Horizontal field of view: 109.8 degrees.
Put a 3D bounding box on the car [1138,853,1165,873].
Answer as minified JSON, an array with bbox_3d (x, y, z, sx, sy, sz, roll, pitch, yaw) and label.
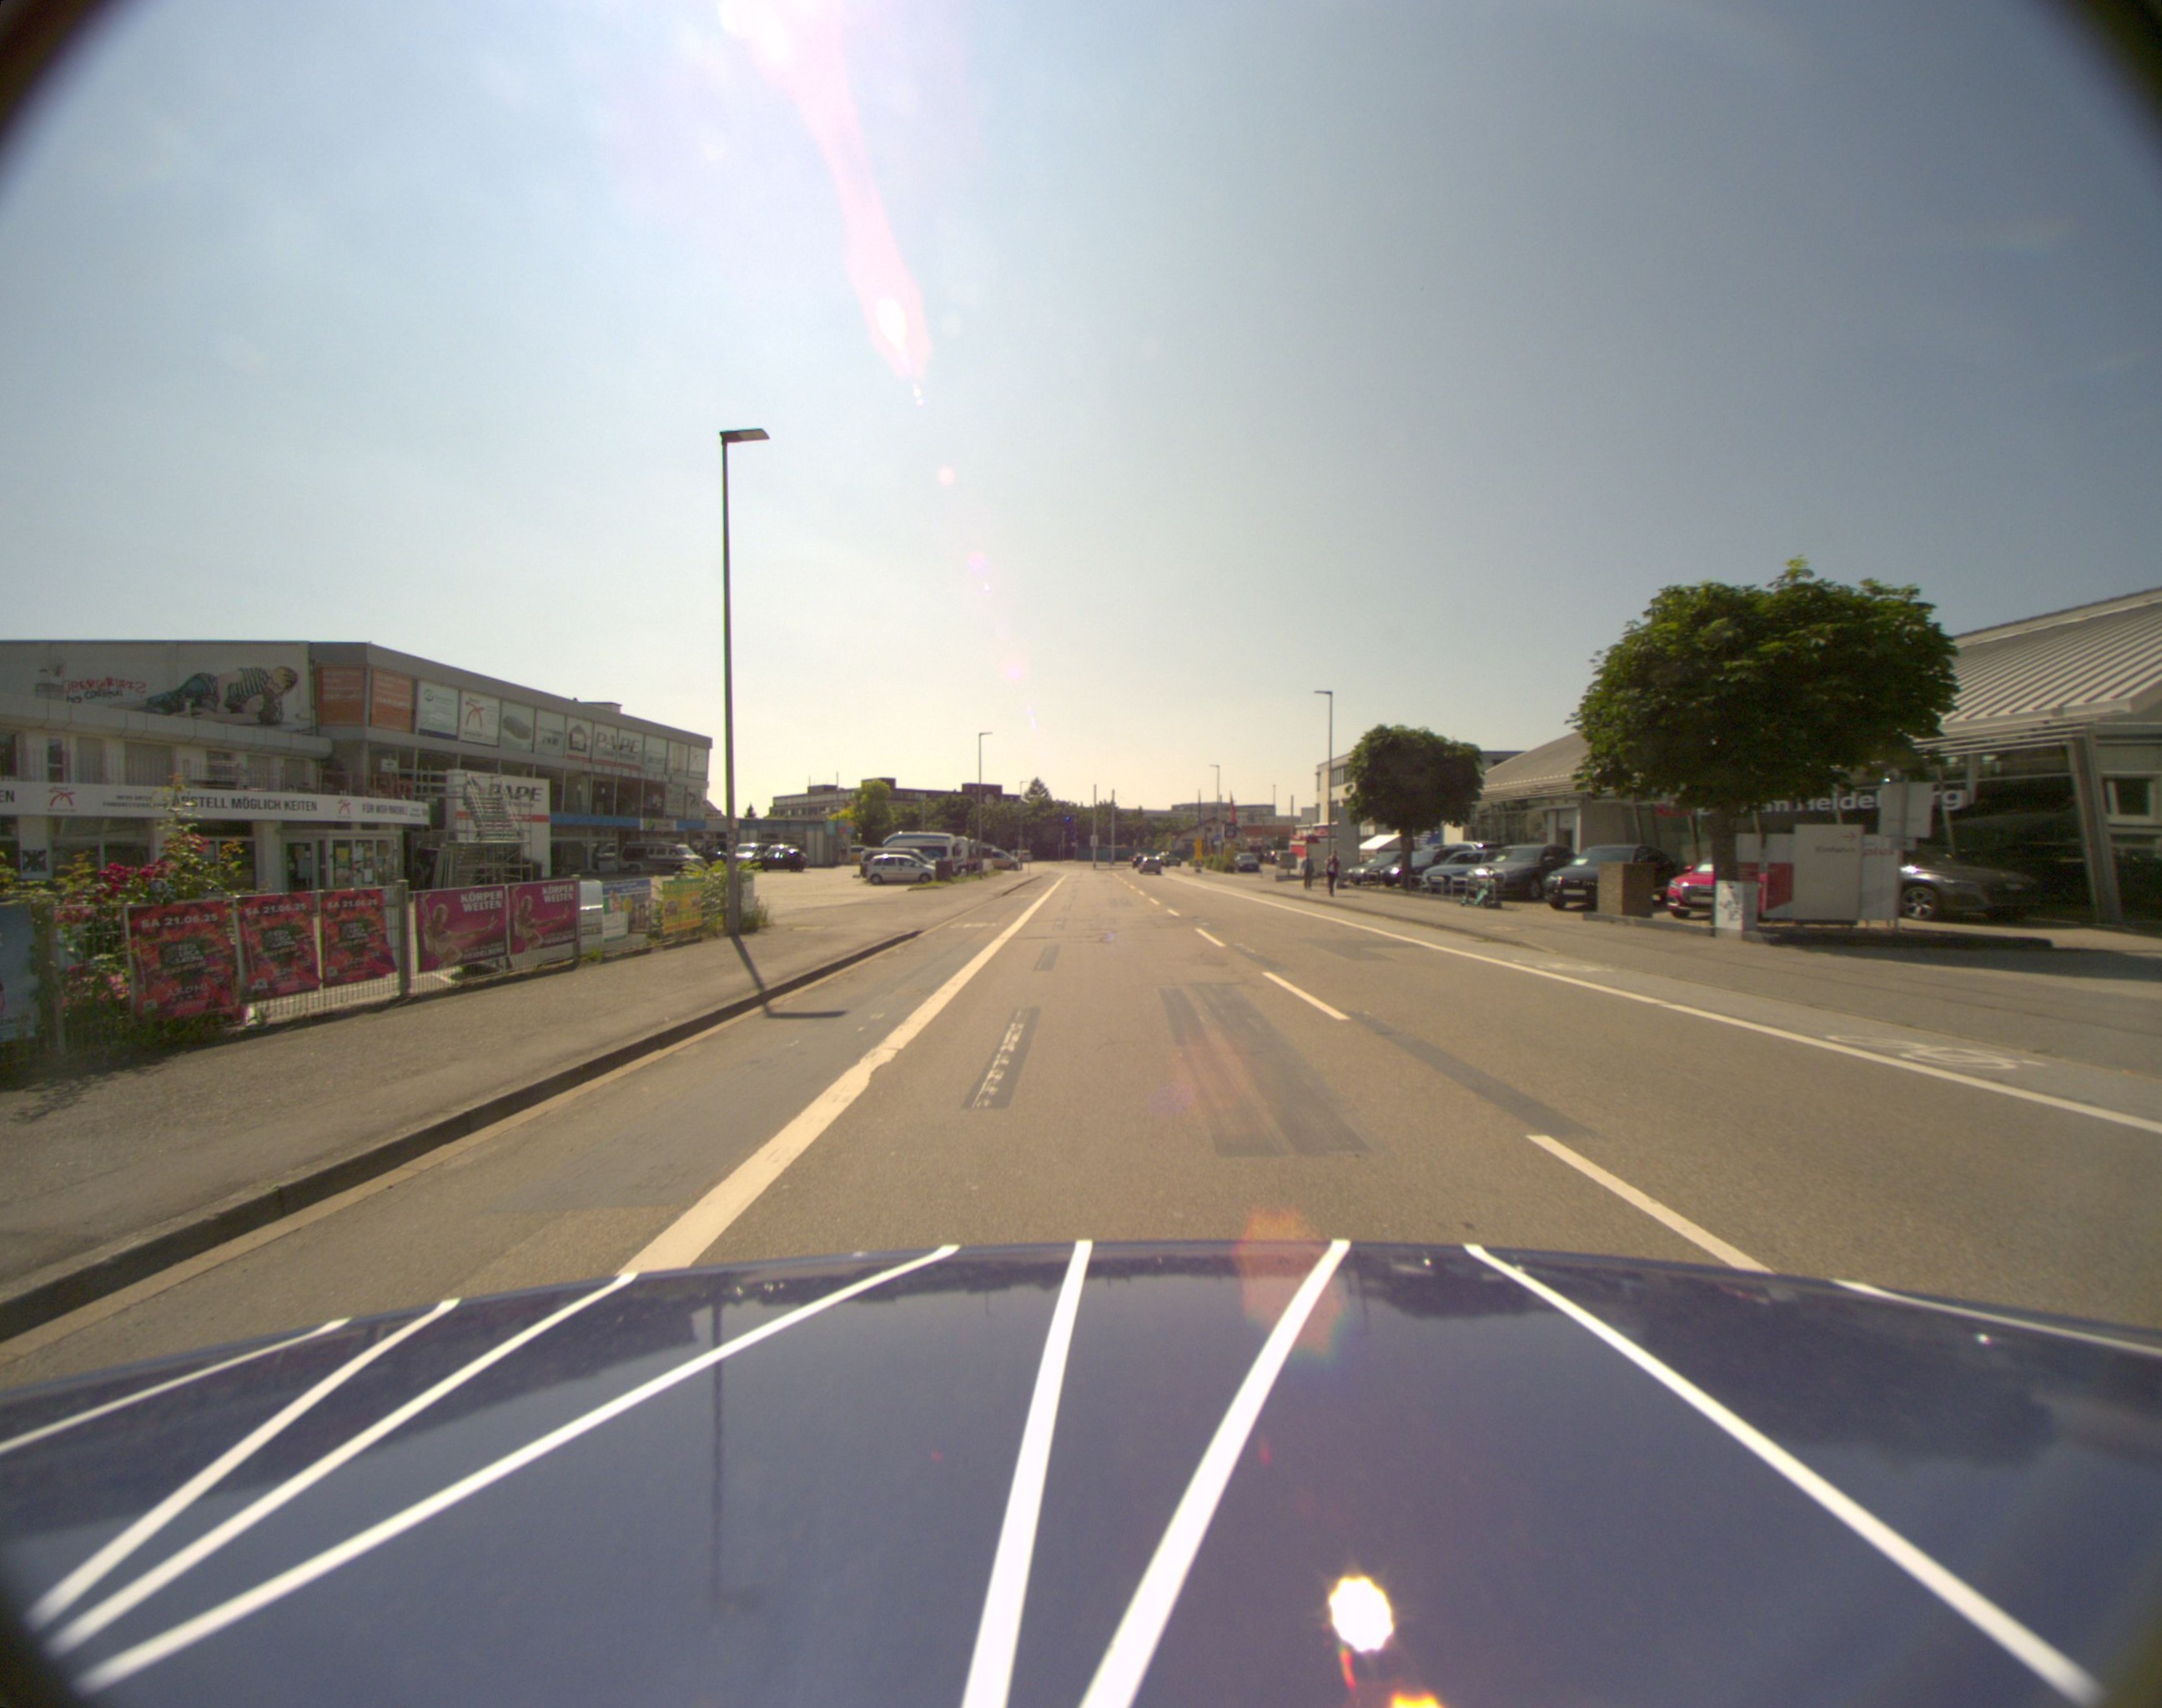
[{"bbox_3d":[5.844,0.731,63.565,1.746,1.396,4.323,5,0,0],"label":"car"}]

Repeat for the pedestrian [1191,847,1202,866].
[{"bbox_3d":[10.763,0.226,70.959,0.995,1.676,0.800,0,1,12],"label":"pedestrian"}]

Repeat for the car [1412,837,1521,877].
[{"bbox_3d":[18.561,0.106,36.870,2.001,1.710,4.726,-4,1,-15],"label":"car"}]

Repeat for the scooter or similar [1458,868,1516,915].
[{"bbox_3d":[11.547,1.053,21.660,0.746,1.240,1.489,0,1,-7],"label":"scooter or similar"}]

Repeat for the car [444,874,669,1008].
[{"bbox_3d":[-9.199,1.298,13.128,5.032,1.613,2.026,0,5,43],"label":"car"}]

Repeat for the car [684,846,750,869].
[{"bbox_3d":[-27.808,0.241,58.186,4.117,1.723,1.999,0,0,-3],"label":"car"}]

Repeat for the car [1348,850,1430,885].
[{"bbox_3d":[14.192,0.589,34.920,4.169,1.451,1.902,-2,1,-42],"label":"car"}]

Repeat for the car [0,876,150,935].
[{"bbox_3d":[-26.542,1.315,18.495,4.562,1.283,1.890,-3,1,-38],"label":"car"}]

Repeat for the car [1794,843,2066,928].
[{"bbox_3d":[18.731,0.610,17.113,1.997,1.674,4.003,0,0,9],"label":"car"}]

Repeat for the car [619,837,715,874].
[{"bbox_3d":[-28.467,0.097,52.399,5.310,2.405,2.326,0,1,0],"label":"car"}]

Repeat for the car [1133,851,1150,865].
[{"bbox_3d":[6.288,0.395,79.157,1.664,1.446,4.241,2,0,3],"label":"car"}]

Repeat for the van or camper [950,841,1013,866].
[{"bbox_3d":[-10.837,-0.049,82.898,6.376,2.621,2.526,0,1,-35],"label":"van or camper"}]

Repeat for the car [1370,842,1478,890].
[{"bbox_3d":[14.387,0.490,31.827,4.489,1.599,1.961,-4,-2,-35],"label":"car"}]

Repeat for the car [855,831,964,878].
[{"bbox_3d":[-10.649,0.030,47.490,6.243,2.853,2.320,0,1,1],"label":"car"}]

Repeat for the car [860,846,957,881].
[{"bbox_3d":[-10.134,0.567,44.938,5.247,1.940,2.000,1,0,0],"label":"car"}]

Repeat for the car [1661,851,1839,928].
[{"bbox_3d":[15.258,0.723,17.300,4.006,1.541,1.855,-1,0,-30],"label":"car"}]

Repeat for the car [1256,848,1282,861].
[{"bbox_3d":[20.037,0.045,81.090,1.911,1.380,4.486,0,0,4],"label":"car"}]

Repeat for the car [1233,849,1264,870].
[{"bbox_3d":[14.134,0.462,64.279,1.909,1.705,4.000,0,0,3],"label":"car"}]

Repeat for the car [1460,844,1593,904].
[{"bbox_3d":[14.102,0.566,23.961,4.588,1.687,1.854,-1,0,-35],"label":"car"}]

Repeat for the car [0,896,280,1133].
[{"bbox_3d":[-9.354,1.305,7.275,3.819,1.607,1.897,0,1,38],"label":"car"}]

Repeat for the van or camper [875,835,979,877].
[{"bbox_3d":[-10.135,0.097,50.546,6.365,2.684,2.712,0,1,0],"label":"van or camper"}]

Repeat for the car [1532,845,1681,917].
[{"bbox_3d":[14.497,0.660,20.891,4.488,1.698,1.906,-2,1,-35],"label":"car"}]

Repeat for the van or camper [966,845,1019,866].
[{"bbox_3d":[-8.992,0.180,77.194,4.991,2.033,2.037,1,1,-30],"label":"van or camper"}]

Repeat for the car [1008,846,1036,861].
[{"bbox_3d":[-10.140,-0.116,130.015,4.421,1.938,2.001,9,9,38],"label":"car"}]

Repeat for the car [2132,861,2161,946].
[{"bbox_3d":[21.052,0.963,12.773,3.470,1.499,1.885,1,4,16],"label":"car"}]

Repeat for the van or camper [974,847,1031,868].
[{"bbox_3d":[-7.715,0.389,74.825,5.145,1.950,1.981,1,1,-30],"label":"van or camper"}]

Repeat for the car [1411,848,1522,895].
[{"bbox_3d":[14.172,0.591,27.871,4.210,1.486,1.869,-2,2,-35],"label":"car"}]

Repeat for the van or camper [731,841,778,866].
[{"bbox_3d":[-27.269,-0.011,63.608,2.123,2.002,5.112,0,0,-5],"label":"van or camper"}]

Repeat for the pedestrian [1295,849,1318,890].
[{"bbox_3d":[10.078,0.678,33.941,0.725,1.838,0.911,0,1,0],"label":"pedestrian"}]

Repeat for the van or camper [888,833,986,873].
[{"bbox_3d":[-10.060,-0.058,53.416,6.365,2.700,2.712,0,1,0],"label":"van or camper"}]

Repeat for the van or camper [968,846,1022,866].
[{"bbox_3d":[-9.077,0.220,80.540,5.148,2.064,2.446,0,1,-32],"label":"van or camper"}]

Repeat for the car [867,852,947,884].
[{"bbox_3d":[-9.595,0.763,42.071,3.931,1.584,1.798,-2,0,0],"label":"car"}]

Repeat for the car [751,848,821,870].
[{"bbox_3d":[-22.564,0.394,58.272,4.550,1.668,1.999,0,0,-3],"label":"car"}]

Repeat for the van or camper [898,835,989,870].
[{"bbox_3d":[-10.062,-0.098,56.035,6.211,2.510,2.619,0,1,0],"label":"van or camper"}]

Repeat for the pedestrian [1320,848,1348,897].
[{"bbox_3d":[9.624,0.689,28.930,0.734,1.857,1.047,0,1,1],"label":"pedestrian"}]
